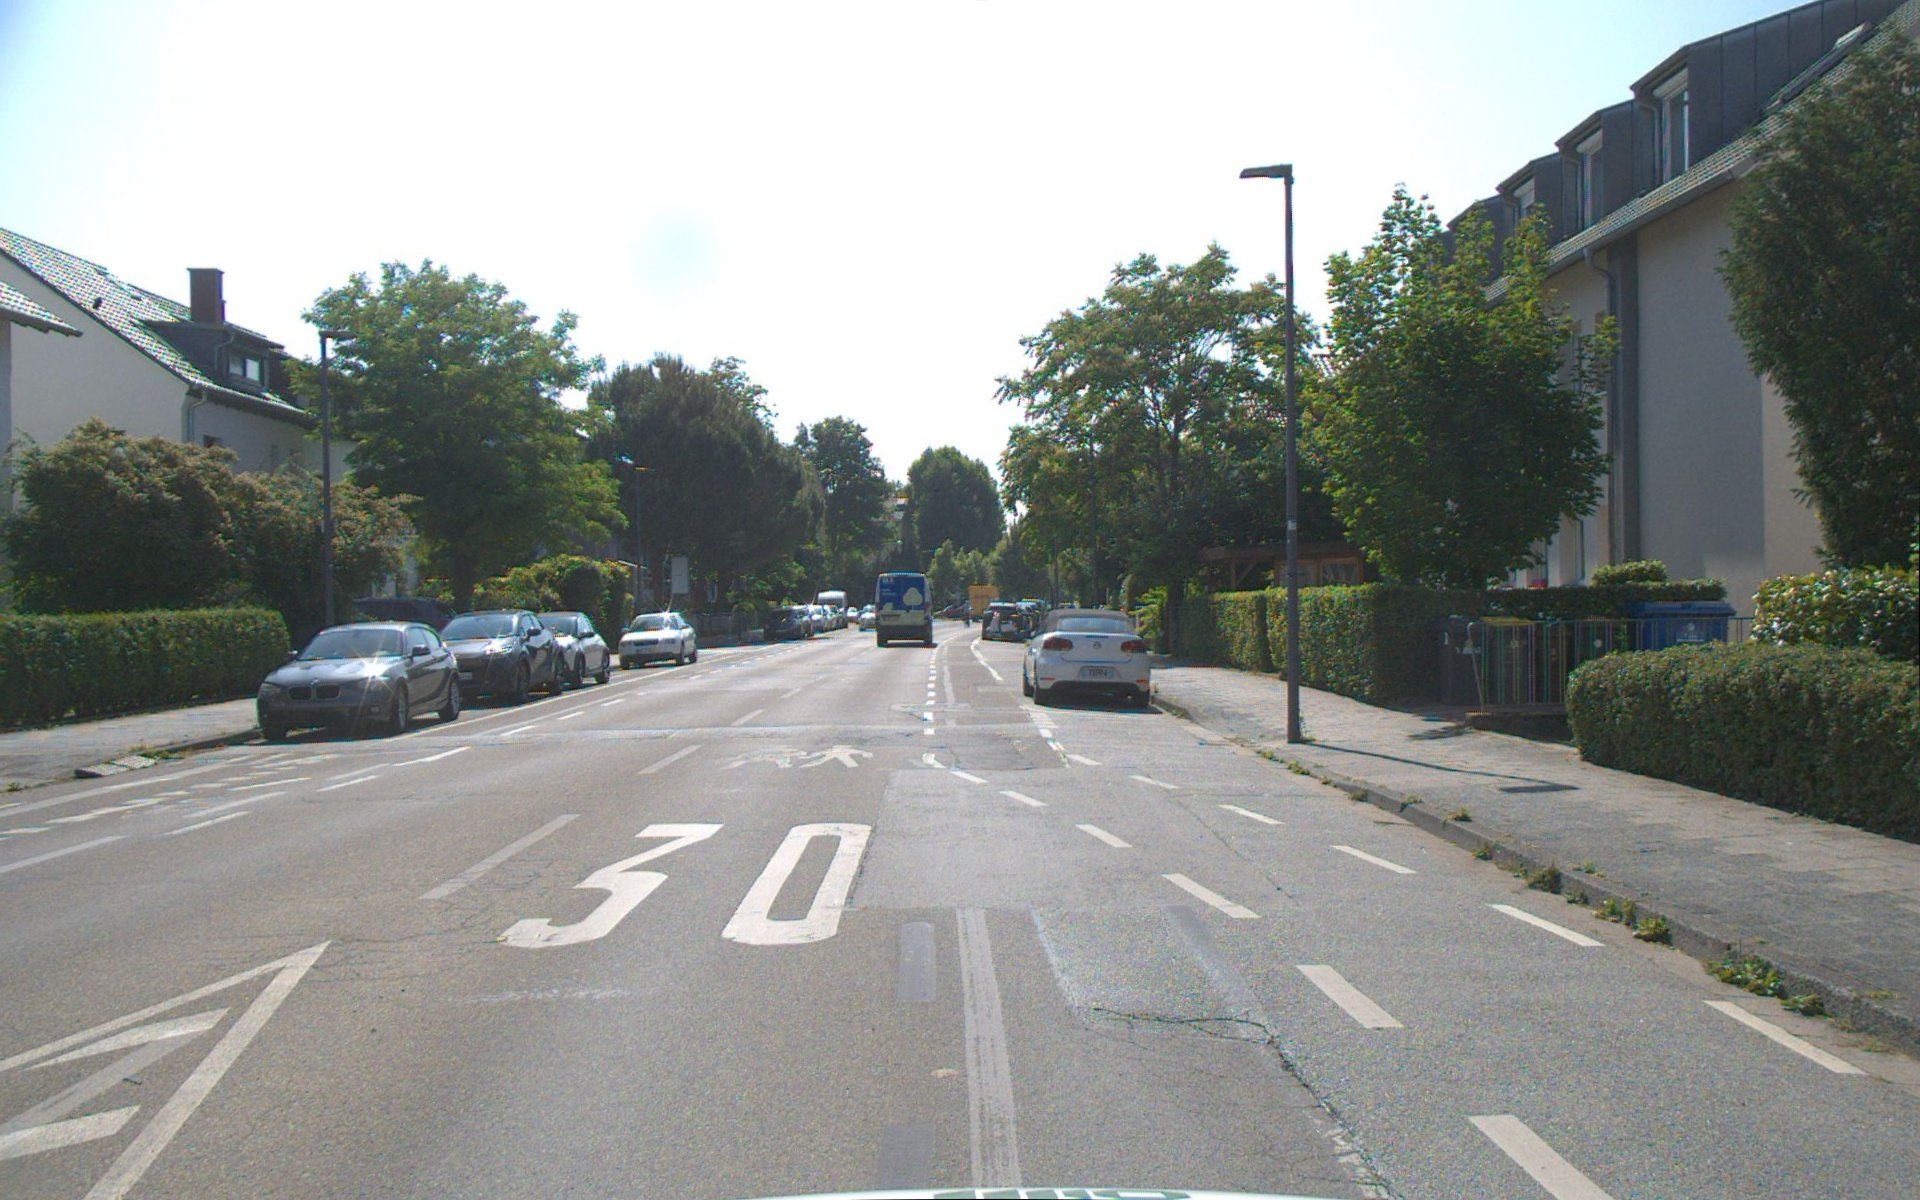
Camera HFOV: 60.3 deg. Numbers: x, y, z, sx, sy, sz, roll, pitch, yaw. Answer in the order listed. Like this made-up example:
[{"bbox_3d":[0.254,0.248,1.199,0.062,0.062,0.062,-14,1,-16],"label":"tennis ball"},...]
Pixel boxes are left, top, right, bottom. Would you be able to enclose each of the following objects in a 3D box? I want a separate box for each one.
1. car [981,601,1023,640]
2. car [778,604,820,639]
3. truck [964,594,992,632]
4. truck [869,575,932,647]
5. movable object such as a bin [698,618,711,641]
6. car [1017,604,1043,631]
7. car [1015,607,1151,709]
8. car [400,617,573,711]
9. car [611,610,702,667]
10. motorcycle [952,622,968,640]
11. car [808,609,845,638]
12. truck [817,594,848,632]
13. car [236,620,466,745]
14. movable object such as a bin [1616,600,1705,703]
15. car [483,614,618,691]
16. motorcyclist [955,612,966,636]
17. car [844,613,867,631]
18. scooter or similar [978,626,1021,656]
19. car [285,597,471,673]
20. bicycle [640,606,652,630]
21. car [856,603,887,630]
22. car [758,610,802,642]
[{"bbox_3d":[1.879,0.909,73.762,1.748,1.667,4.471,1,-1,1],"label":"car"},{"bbox_3d":[-8.342,1.099,85.954,1.870,1.706,4.256,-2,0,-3],"label":"car"},{"bbox_3d":[1.469,1.120,134.554,2.169,2.998,5.685,-1,-1,1],"label":"truck"},{"bbox_3d":[-2.207,0.442,62.366,2.226,2.616,4.391,-1,-1,-1],"label":"truck"},{"bbox_3d":[-12.723,1.454,82.295,0.532,1.131,0.585,-1,-1,5],"label":"movable object such as a bin"},{"bbox_3d":[4.593,1.124,108.082,1.665,1.706,3.776,-1,-1,2],"label":"car"},{"bbox_3d":[1.833,0.851,25.835,1.705,1.427,4.072,1,0,-1],"label":"car"},{"bbox_3d":[-8.124,1.060,28.762,1.748,1.465,4.110,-2,-1,1],"label":"car"},{"bbox_3d":[-8.325,1.038,45.660,1.749,1.465,4.000,-1,0,0],"label":"car"},{"bbox_3d":[0.020,2.054,107.904,1.035,1.142,2.991,-1,-1,0],"label":"motorcycle"},{"bbox_3d":[-7.796,1.400,96.835,1.797,1.623,3.775,-1,-1,1],"label":"car"},{"bbox_3d":[-8.855,0.907,115.190,2.039,2.582,5.463,-1,-1,-3],"label":"truck"},{"bbox_3d":[-8.092,1.032,22.371,1.750,1.465,4.151,-2,-1,-4],"label":"car"},{"bbox_3d":[8.842,0.641,20.899,0.732,1.265,0.793,-1,-1,-5],"label":"movable object such as a bin"},{"bbox_3d":[-8.286,1.032,33.799,1.748,1.465,4.000,-1,-1,0],"label":"car"},{"bbox_3d":[0.023,1.538,107.834,0.658,1.545,0.652,-1,-1,0],"label":"motorcyclist"},{"bbox_3d":[-8.592,1.805,135.893,1.719,1.367,3.652,-1,-1,-2],"label":"car"},{"bbox_3d":[1.696,1.746,71.016,1.767,1.174,0.715,2,-1,45],"label":"scooter or similar"},{"bbox_3d":[-14.384,0.853,41.040,3.905,1.790,2.000,0,-1,0],"label":"car"},{"bbox_3d":[-16.317,0.913,85.931,0.527,1.202,1.441,-1,1,-13],"label":"bicycle"},{"bbox_3d":[-5.281,1.000,98.580,1.697,1.568,3.998,-2,-1,-2],"label":"car"},{"bbox_3d":[-8.676,1.254,80.190,1.745,1.485,4.084,-2,-1,-1],"label":"car"}]
